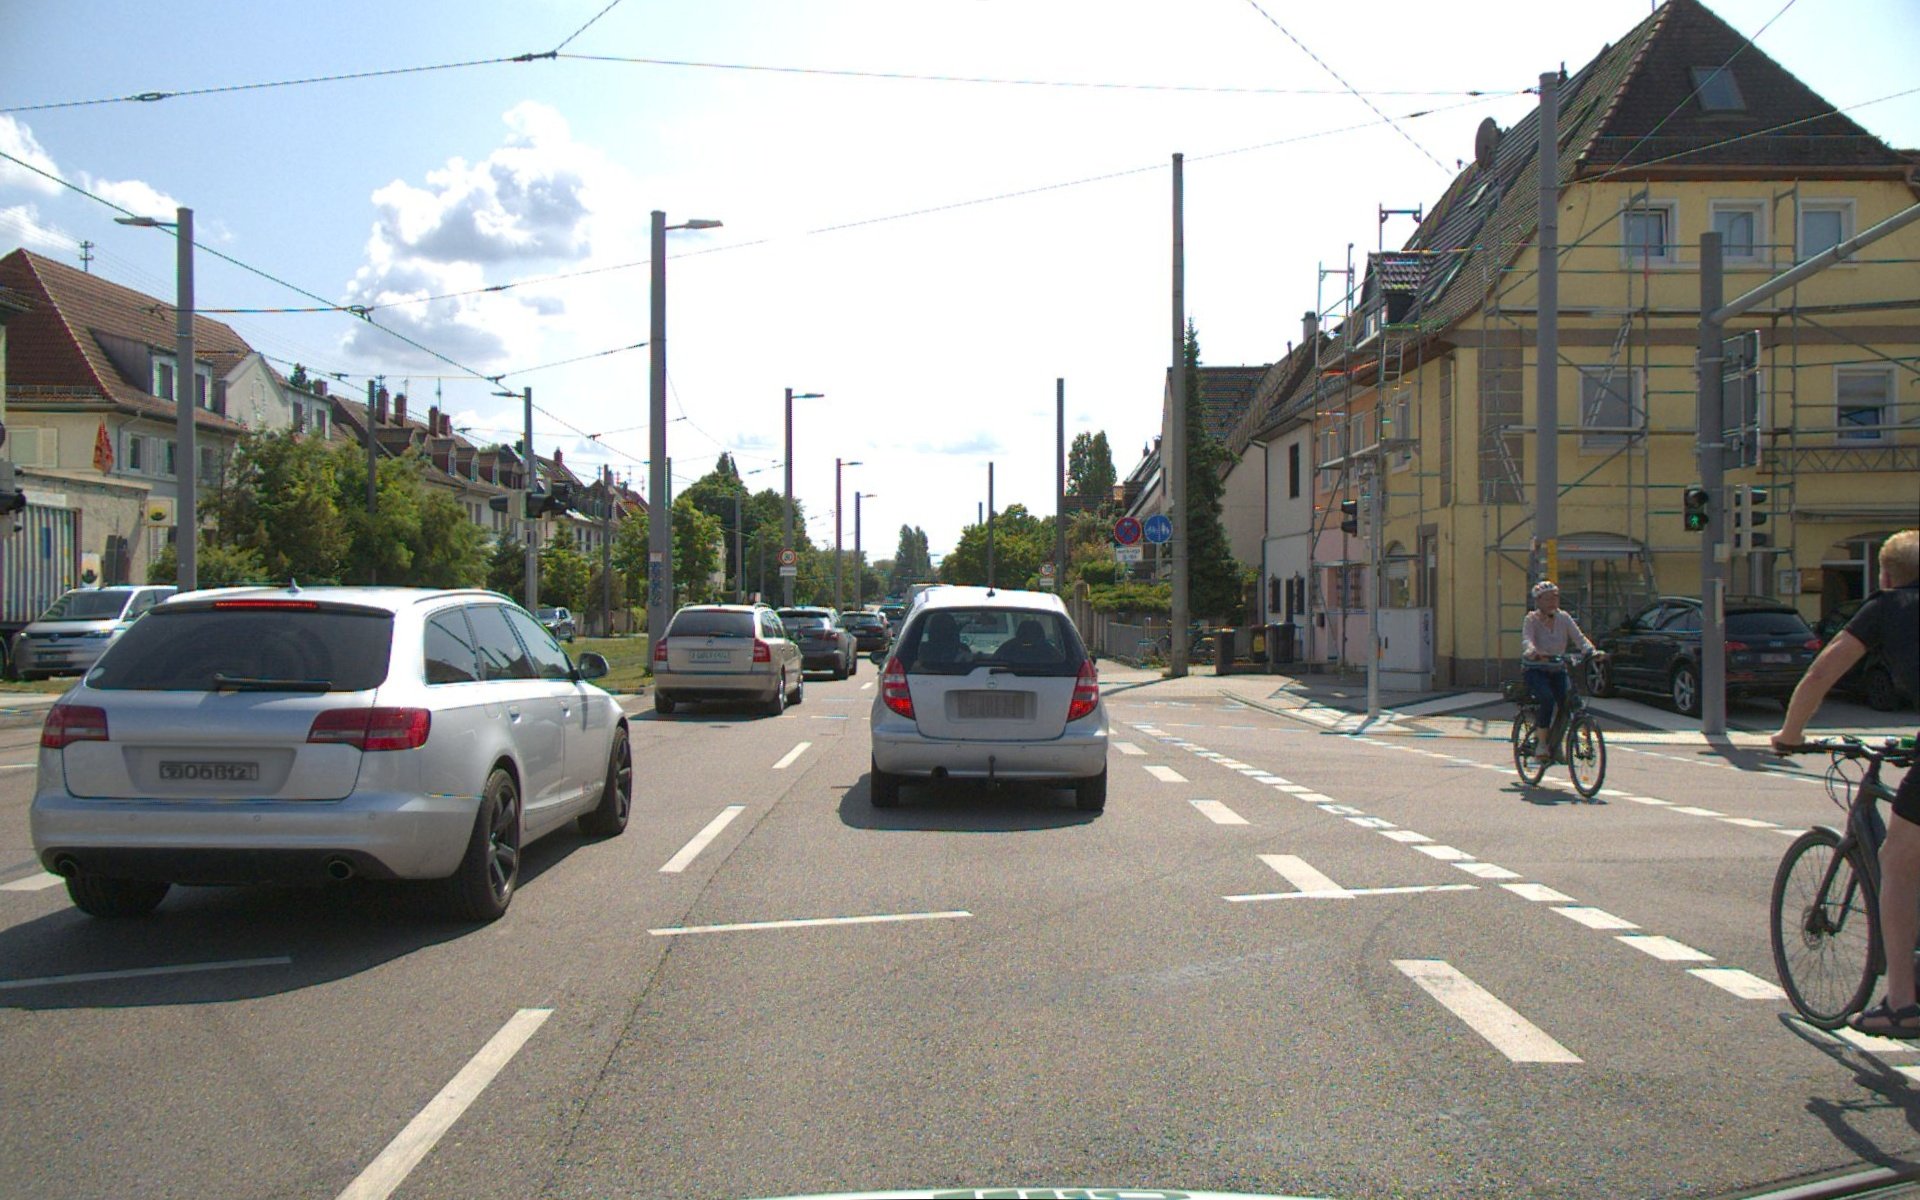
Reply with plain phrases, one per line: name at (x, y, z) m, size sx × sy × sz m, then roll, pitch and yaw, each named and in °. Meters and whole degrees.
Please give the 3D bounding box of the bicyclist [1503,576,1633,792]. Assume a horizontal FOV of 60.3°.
bicyclist at (5.182, 0.698, 14.141) m, size 0.638 × 1.768 × 0.982 m, roll 2°, pitch -1°, yaw -7°

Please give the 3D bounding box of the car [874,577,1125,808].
car at (0.186, 0.666, 13.410) m, size 1.695 × 1.543 × 4.014 m, roll 2°, pitch -1°, yaw -3°

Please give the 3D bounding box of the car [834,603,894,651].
car at (-3.048, 0.864, 53.307) m, size 1.815 × 1.413 × 4.512 m, roll 2°, pitch -1°, yaw -2°

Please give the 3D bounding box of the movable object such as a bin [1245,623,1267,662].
movable object such as a bin at (7.376, 1.054, 41.220) m, size 0.458 × 0.963 × 0.558 m, roll 0°, pitch -1°, yaw -1°

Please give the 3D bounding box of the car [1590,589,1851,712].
car at (11.161, 0.724, 24.634) m, size 1.953 × 1.624 × 4.130 m, roll 2°, pitch -1°, yaw 0°

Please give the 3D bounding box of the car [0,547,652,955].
car at (-2.883, 0.589, 8.574) m, size 1.758 × 1.497 × 4.720 m, roll 1°, pitch -1°, yaw -1°

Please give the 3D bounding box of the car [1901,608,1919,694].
car at (16.325, 0.824, 24.996) m, size 1.829 × 1.375 × 4.130 m, roll 2°, pitch -1°, yaw 0°

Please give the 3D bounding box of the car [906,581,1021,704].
car at (0.020, 0.662, 26.819) m, size 1.695 × 1.793 × 4.015 m, roll 2°, pitch -1°, yaw -1°

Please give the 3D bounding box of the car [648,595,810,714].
car at (-3.152, 0.692, 23.306) m, size 1.696 × 1.474 × 4.123 m, roll 2°, pitch 0°, yaw 0°

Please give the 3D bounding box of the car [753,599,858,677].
car at (-3.224, 0.777, 35.354) m, size 1.878 × 1.503 × 4.561 m, roll 2°, pitch -1°, yaw -1°

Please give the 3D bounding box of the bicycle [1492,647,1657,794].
bicycle at (5.178, 0.992, 14.036) m, size 0.638 × 1.137 × 1.585 m, roll 2°, pitch -1°, yaw -7°

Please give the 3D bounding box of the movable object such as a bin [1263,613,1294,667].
movable object such as a bin at (6.826, 0.853, 35.441) m, size 0.501 × 1.124 × 0.855 m, roll 1°, pitch -1°, yaw 0°

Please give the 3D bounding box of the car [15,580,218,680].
car at (-16.942, 0.593, 33.500) m, size 1.758 × 1.847 × 4.711 m, roll -1°, pitch -1°, yaw -1°

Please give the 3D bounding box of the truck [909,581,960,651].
truck at (-1.062, 0.629, 65.280) m, size 1.815 × 2.597 × 5.852 m, roll 2°, pitch -1°, yaw -2°

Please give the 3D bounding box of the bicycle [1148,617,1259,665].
bicycle at (5.991, 1.002, 40.757) m, size 2.607 × 1.124 × 0.786 m, roll -1°, pitch -1°, yaw -2°

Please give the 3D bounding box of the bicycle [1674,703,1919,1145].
bicycle at (3.132, 0.962, 5.432) m, size 0.811 × 1.094 × 1.972 m, roll -1°, pitch 0°, yaw 4°

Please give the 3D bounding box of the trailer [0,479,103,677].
trailer at (-20.256, -0.363, 29.776) m, size 2.545 × 3.888 × 12.839 m, roll -2°, pitch 0°, yaw 2°

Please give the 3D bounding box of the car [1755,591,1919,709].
car at (13.928, 0.744, 24.858) m, size 1.953 × 1.624 × 4.130 m, roll 2°, pitch -1°, yaw 0°

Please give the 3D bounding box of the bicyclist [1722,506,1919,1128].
bicyclist at (3.125, 0.626, 5.377) m, size 0.811 × 1.825 × 1.084 m, roll -1°, pitch 0°, yaw 4°

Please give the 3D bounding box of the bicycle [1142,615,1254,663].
bicycle at (5.956, 0.965, 41.470) m, size 2.671 × 1.139 × 0.691 m, roll -1°, pitch -1°, yaw -2°

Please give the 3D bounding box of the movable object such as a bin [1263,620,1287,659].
movable object such as a bin at (7.849, 0.992, 41.223) m, size 0.458 × 0.963 × 0.558 m, roll 0°, pitch -1°, yaw -1°

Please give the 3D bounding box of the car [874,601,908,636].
car at (-3.787, 1.022, 91.039) m, size 1.815 × 1.875 × 3.916 m, roll 2°, pitch -1°, yaw -2°

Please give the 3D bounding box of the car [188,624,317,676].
car at (-20.360, 1.406, 47.797) m, size 1.757 × 1.411 × 4.471 m, roll -1°, pitch -1°, yaw 0°

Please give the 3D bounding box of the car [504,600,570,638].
car at (-20.160, 0.922, 79.031) m, size 1.974 × 1.742 × 4.935 m, roll -1°, pitch -1°, yaw -2°

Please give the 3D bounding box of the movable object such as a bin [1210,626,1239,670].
movable object such as a bin at (5.639, 1.018, 35.316) m, size 0.501 × 0.934 × 0.741 m, roll 1°, pitch -1°, yaw 0°
